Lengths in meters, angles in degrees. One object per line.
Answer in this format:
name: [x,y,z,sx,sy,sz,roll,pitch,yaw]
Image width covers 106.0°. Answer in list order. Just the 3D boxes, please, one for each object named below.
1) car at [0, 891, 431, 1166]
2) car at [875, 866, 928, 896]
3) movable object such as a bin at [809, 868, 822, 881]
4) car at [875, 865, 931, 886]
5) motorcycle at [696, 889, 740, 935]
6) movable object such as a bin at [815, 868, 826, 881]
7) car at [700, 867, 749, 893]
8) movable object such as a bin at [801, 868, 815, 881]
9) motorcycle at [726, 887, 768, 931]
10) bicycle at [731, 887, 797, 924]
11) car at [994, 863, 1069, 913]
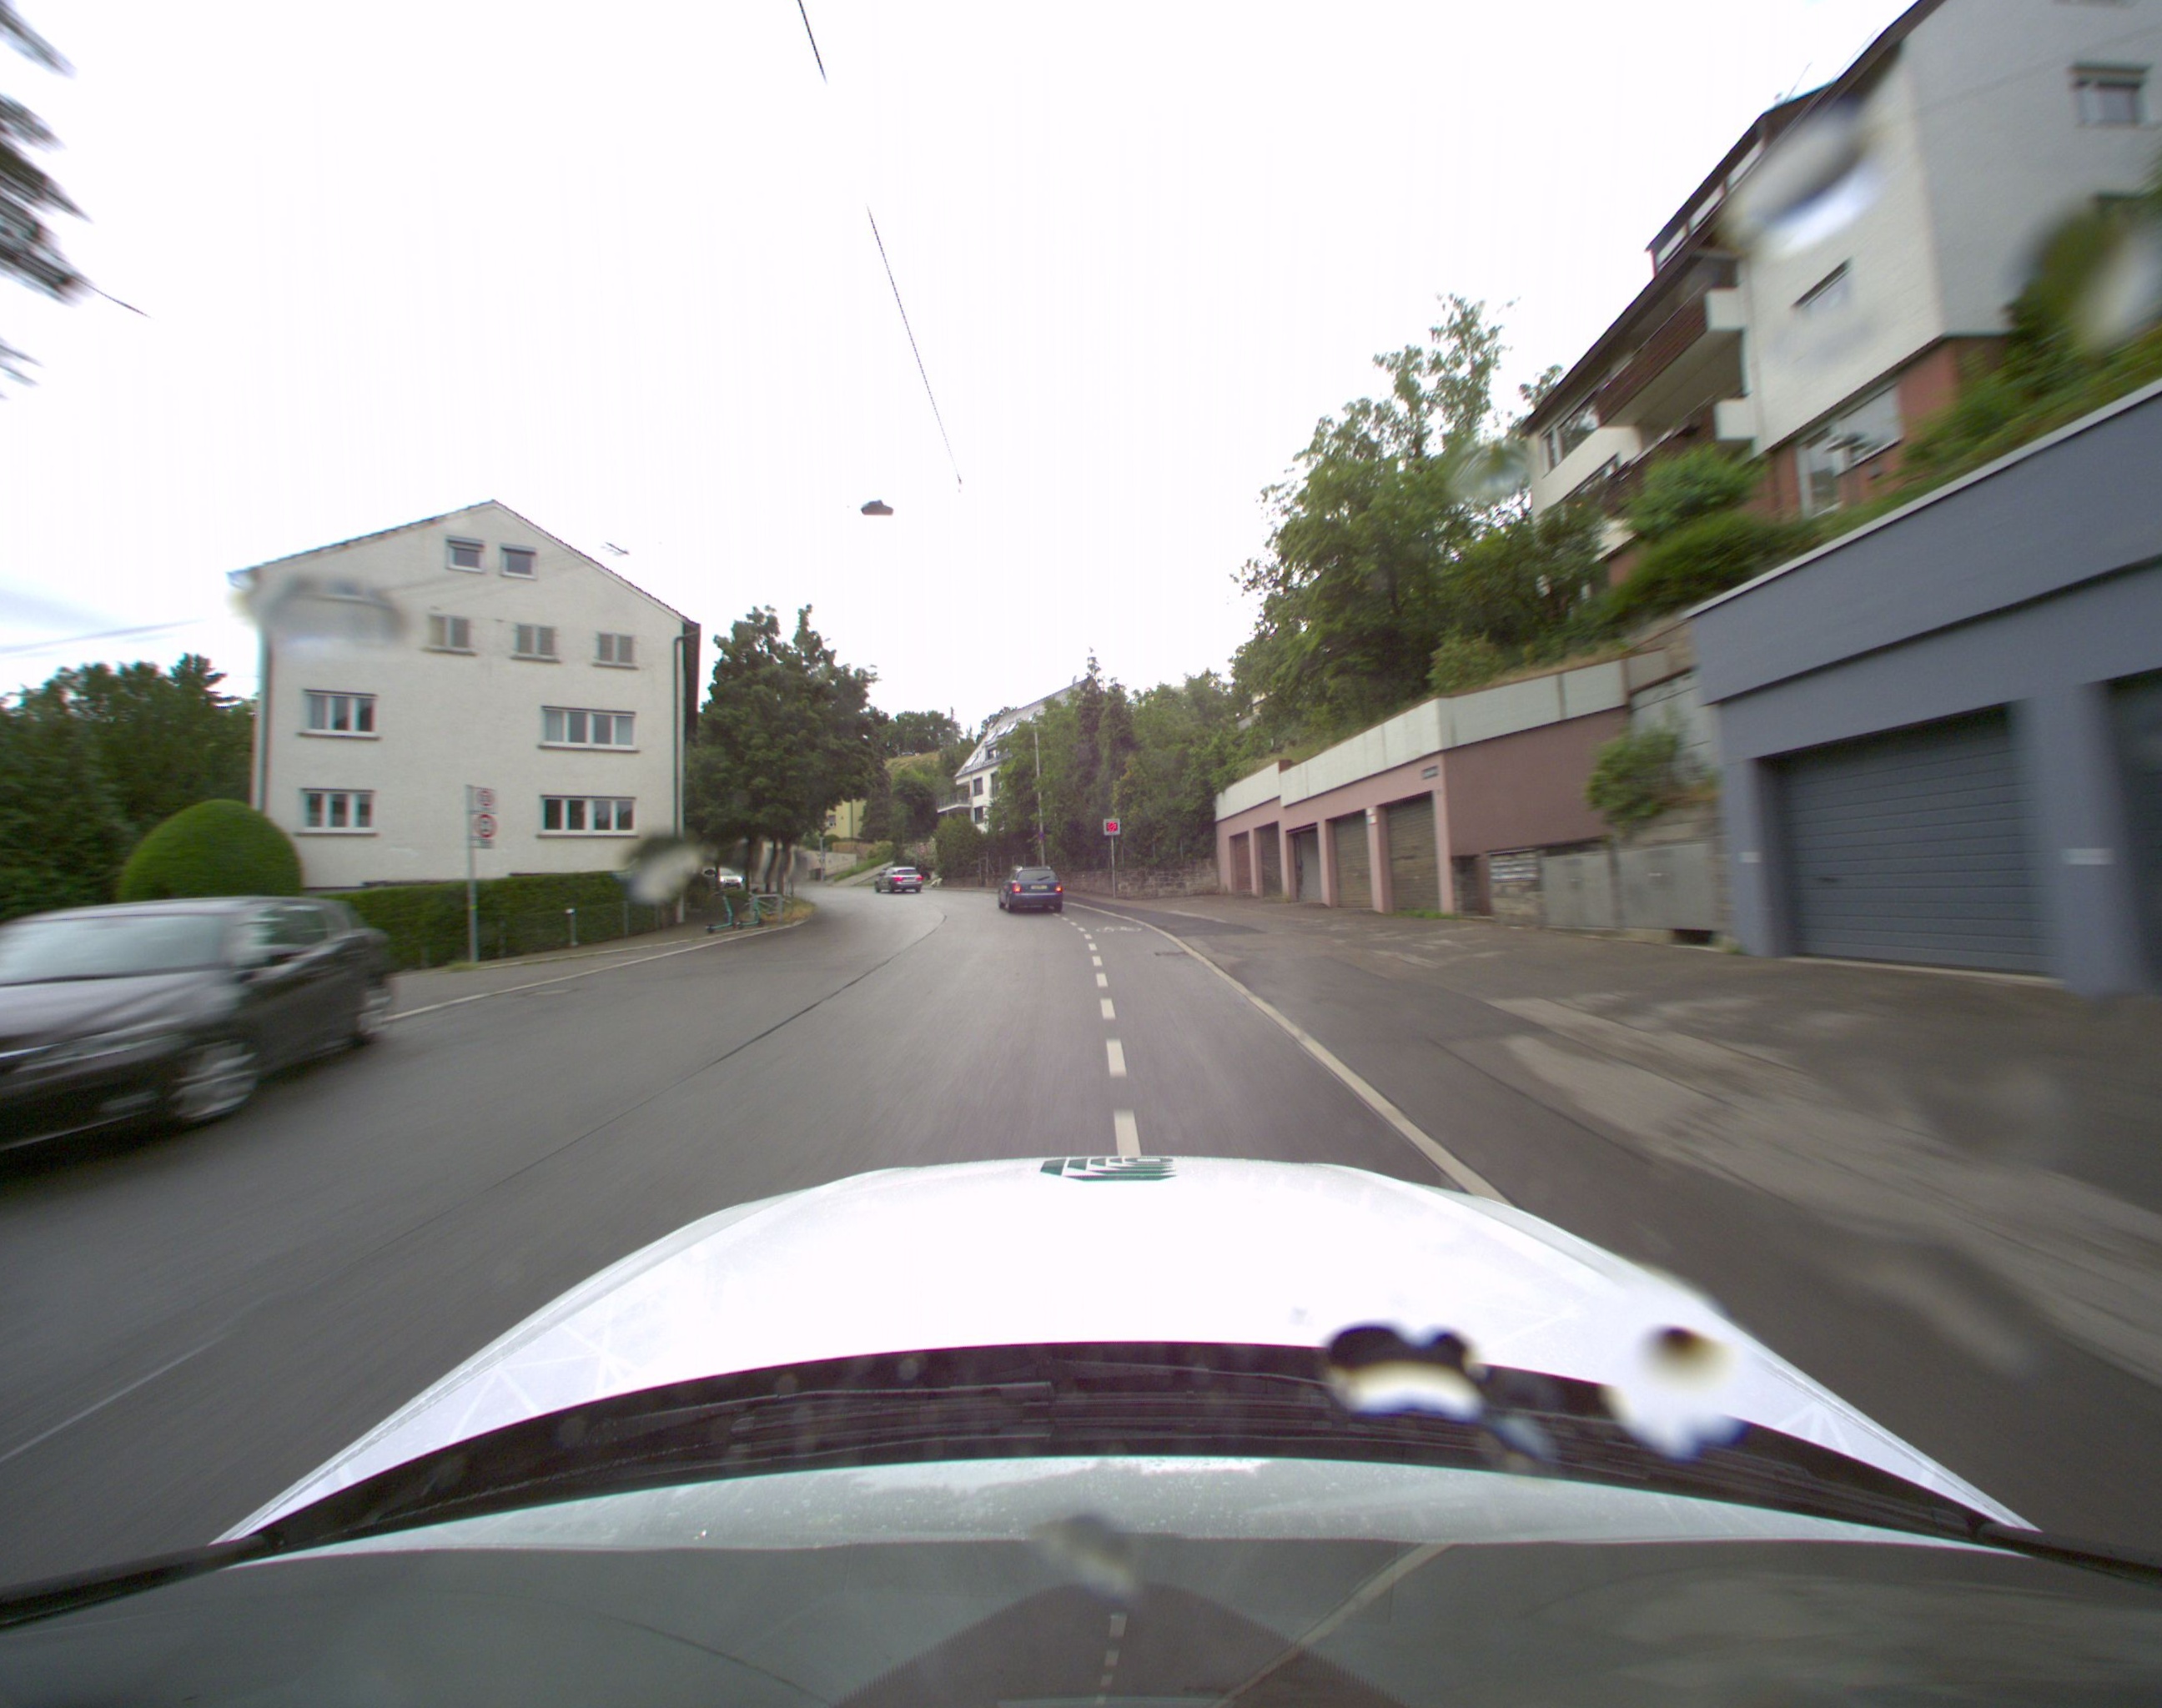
car: [-6.838,1.051,6.242,2.004,1.391,4.161,-1,-1,-26]
car: [-10.554,1.553,47.587,1.961,1.561,4.225,2,0,-27]
movable object such as a bin: [-24.639,1.908,75.560,0.777,1.185,0.867,-1,0,26]
car: [-14.223,1.727,65.340,1.718,1.508,4.209,-2,-1,40]
motorcycle: [-10.550,1.661,23.710,0.550,1.228,1.307,-2,0,5]
movable object such as a bin: [-24.046,1.894,75.205,0.574,1.223,0.708,-2,0,26]
car: [-27.371,1.970,62.493,2.001,1.788,4.638,-4,1,-41]
movable object such as a bin: [-25.412,1.916,75.846,0.789,1.142,0.867,-1,0,26]
motorcycle: [-9.947,1.612,24.288,0.554,1.203,1.401,-2,0,5]
bicycle: [-10.508,1.690,26.992,1.972,1.060,0.748,-2,0,-24]
car: [-1.727,1.057,26.950,1.855,1.414,4.343,-1,0,-12]
